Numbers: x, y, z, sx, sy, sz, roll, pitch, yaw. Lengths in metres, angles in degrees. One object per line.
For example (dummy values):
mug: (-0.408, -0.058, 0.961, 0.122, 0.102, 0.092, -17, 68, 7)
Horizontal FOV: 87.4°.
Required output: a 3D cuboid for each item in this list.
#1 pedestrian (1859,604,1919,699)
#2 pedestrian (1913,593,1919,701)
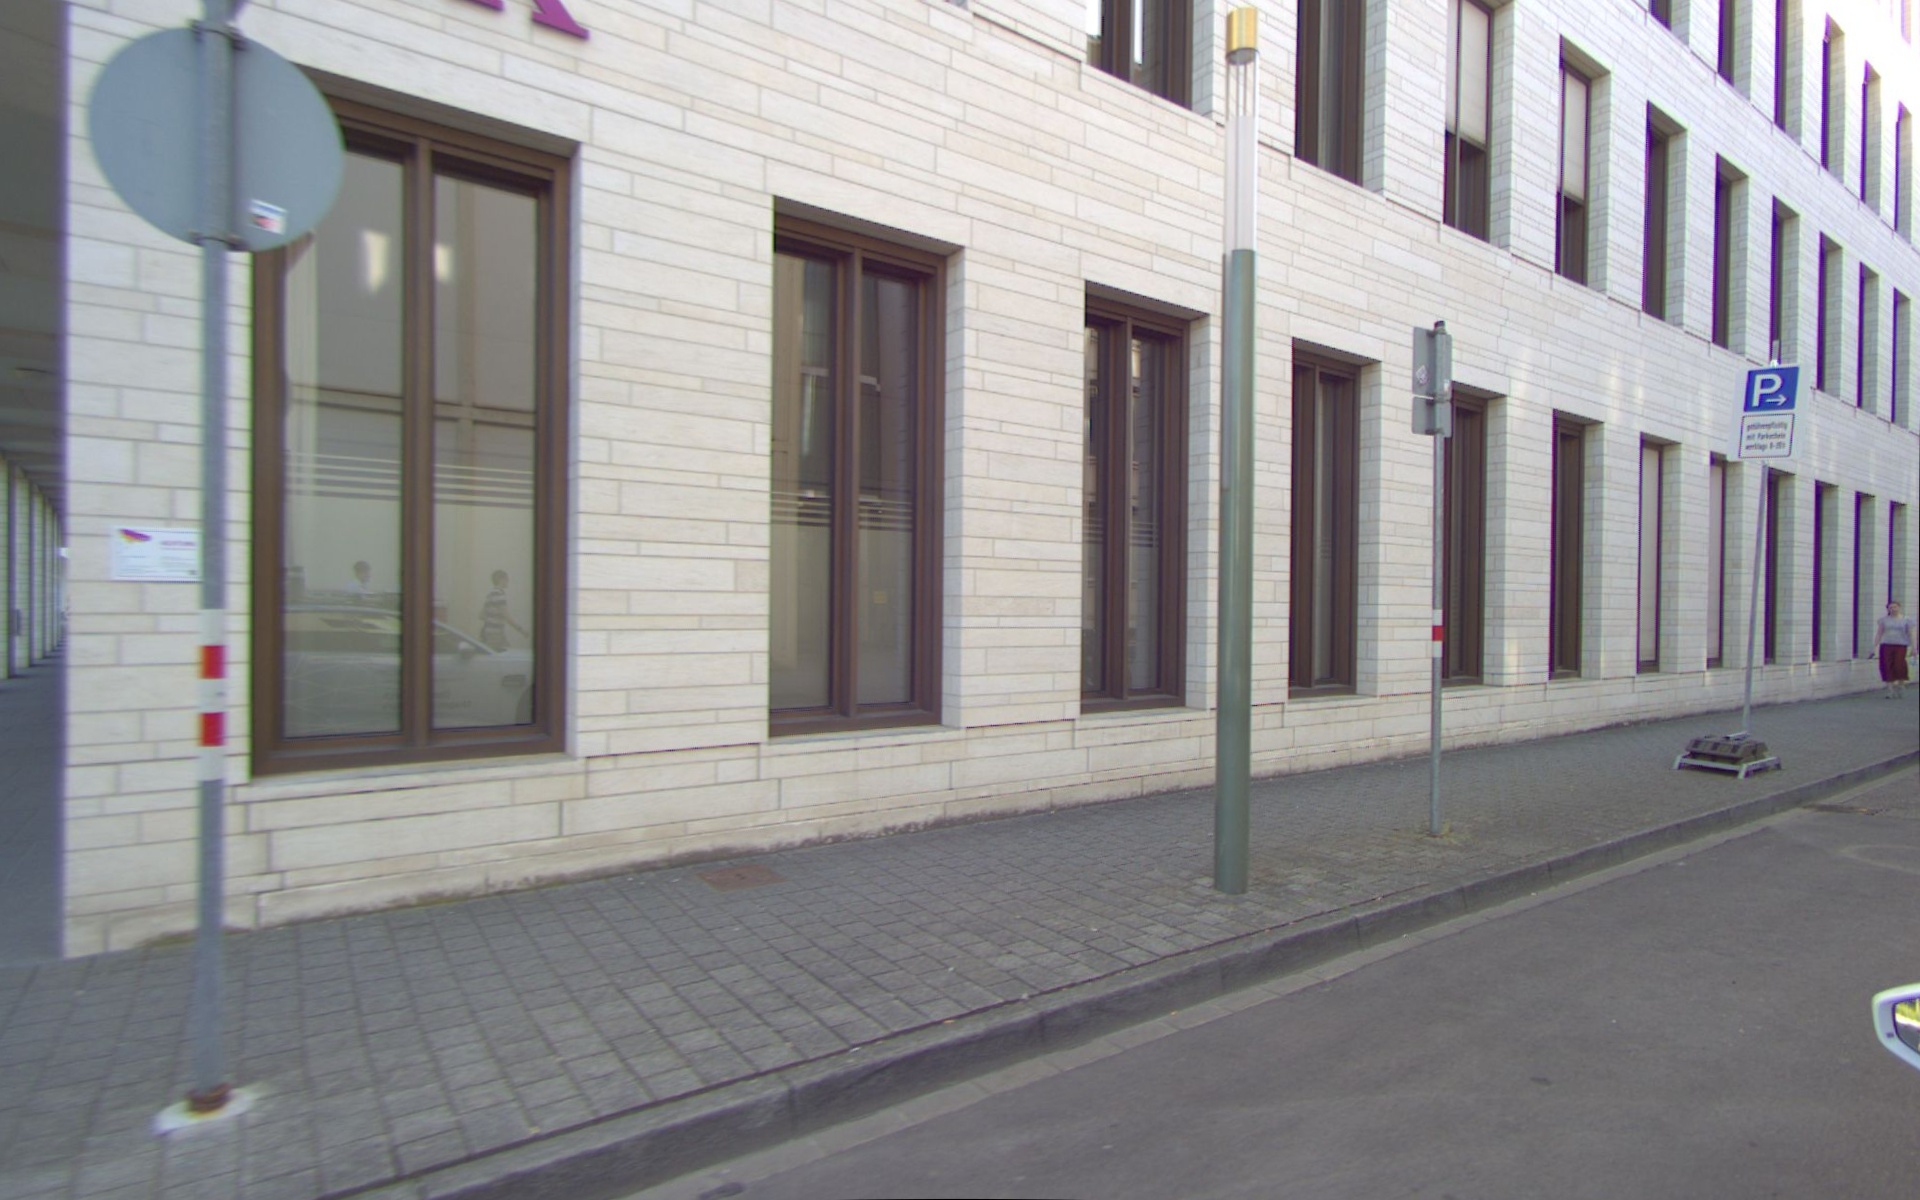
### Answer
pedestrian: (16.517, 0.892, 17.808, 0.852, 1.635, 0.700, 1, -1, -35)
pedestrian: (16.436, 0.785, 16.716, 0.720, 1.810, 0.700, 1, -1, -35)
